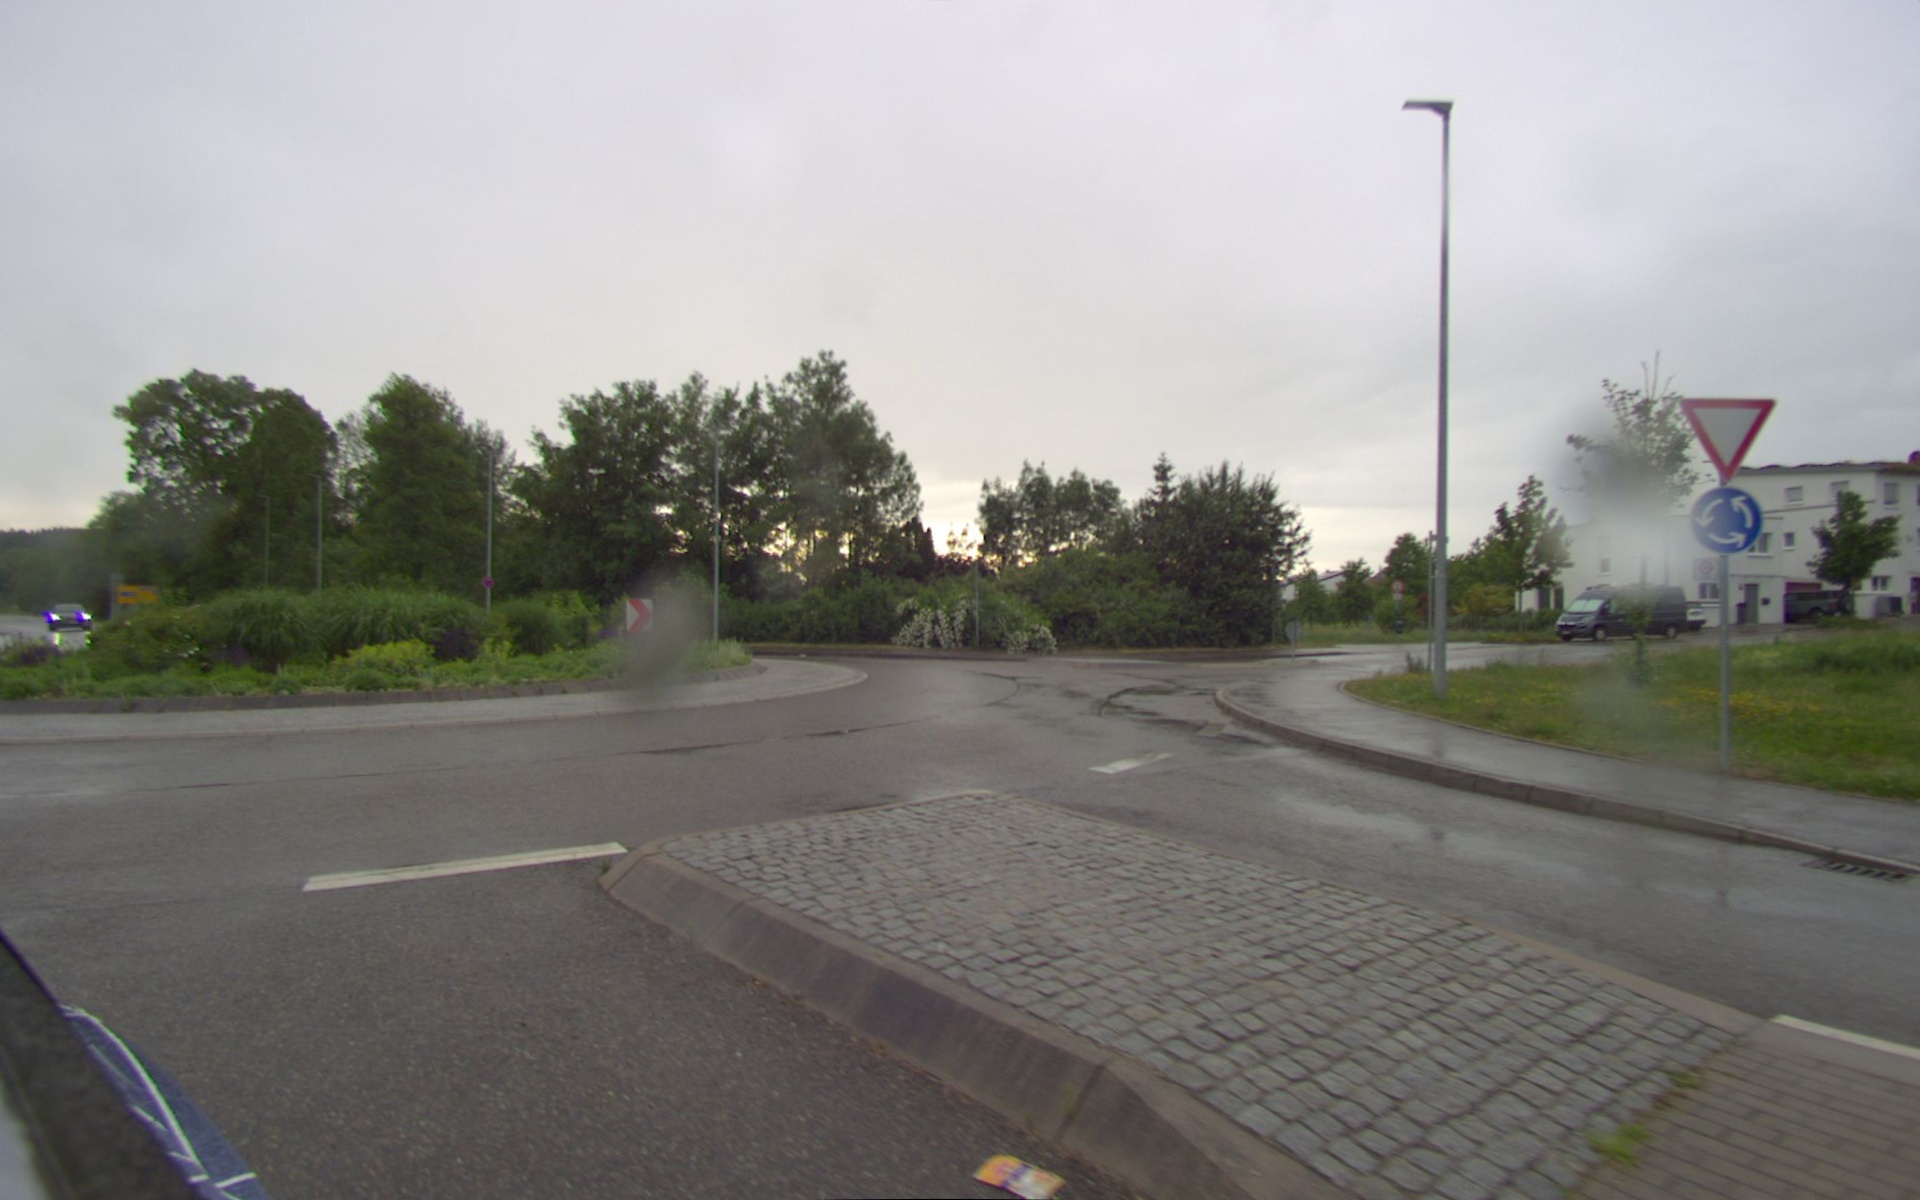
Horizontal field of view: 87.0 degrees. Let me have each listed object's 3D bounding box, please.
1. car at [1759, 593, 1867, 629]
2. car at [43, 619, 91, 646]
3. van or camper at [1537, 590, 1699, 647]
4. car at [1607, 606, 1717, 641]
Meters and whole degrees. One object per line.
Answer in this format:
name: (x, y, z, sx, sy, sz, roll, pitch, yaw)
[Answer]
car: (46.698, 0.607, 55.497, 1.760, 1.855, 4.226, 1, -1, -18)
car: (-52.172, 1.884, 59.108, 4.122, 1.501, 1.830, -2, -2, 45)
van or camper: (30.654, 0.850, 47.215, 6.109, 2.512, 2.536, -1, -1, -8)
car: (37.426, 1.280, 54.107, 1.988, 1.761, 4.682, 0, -2, -13)
